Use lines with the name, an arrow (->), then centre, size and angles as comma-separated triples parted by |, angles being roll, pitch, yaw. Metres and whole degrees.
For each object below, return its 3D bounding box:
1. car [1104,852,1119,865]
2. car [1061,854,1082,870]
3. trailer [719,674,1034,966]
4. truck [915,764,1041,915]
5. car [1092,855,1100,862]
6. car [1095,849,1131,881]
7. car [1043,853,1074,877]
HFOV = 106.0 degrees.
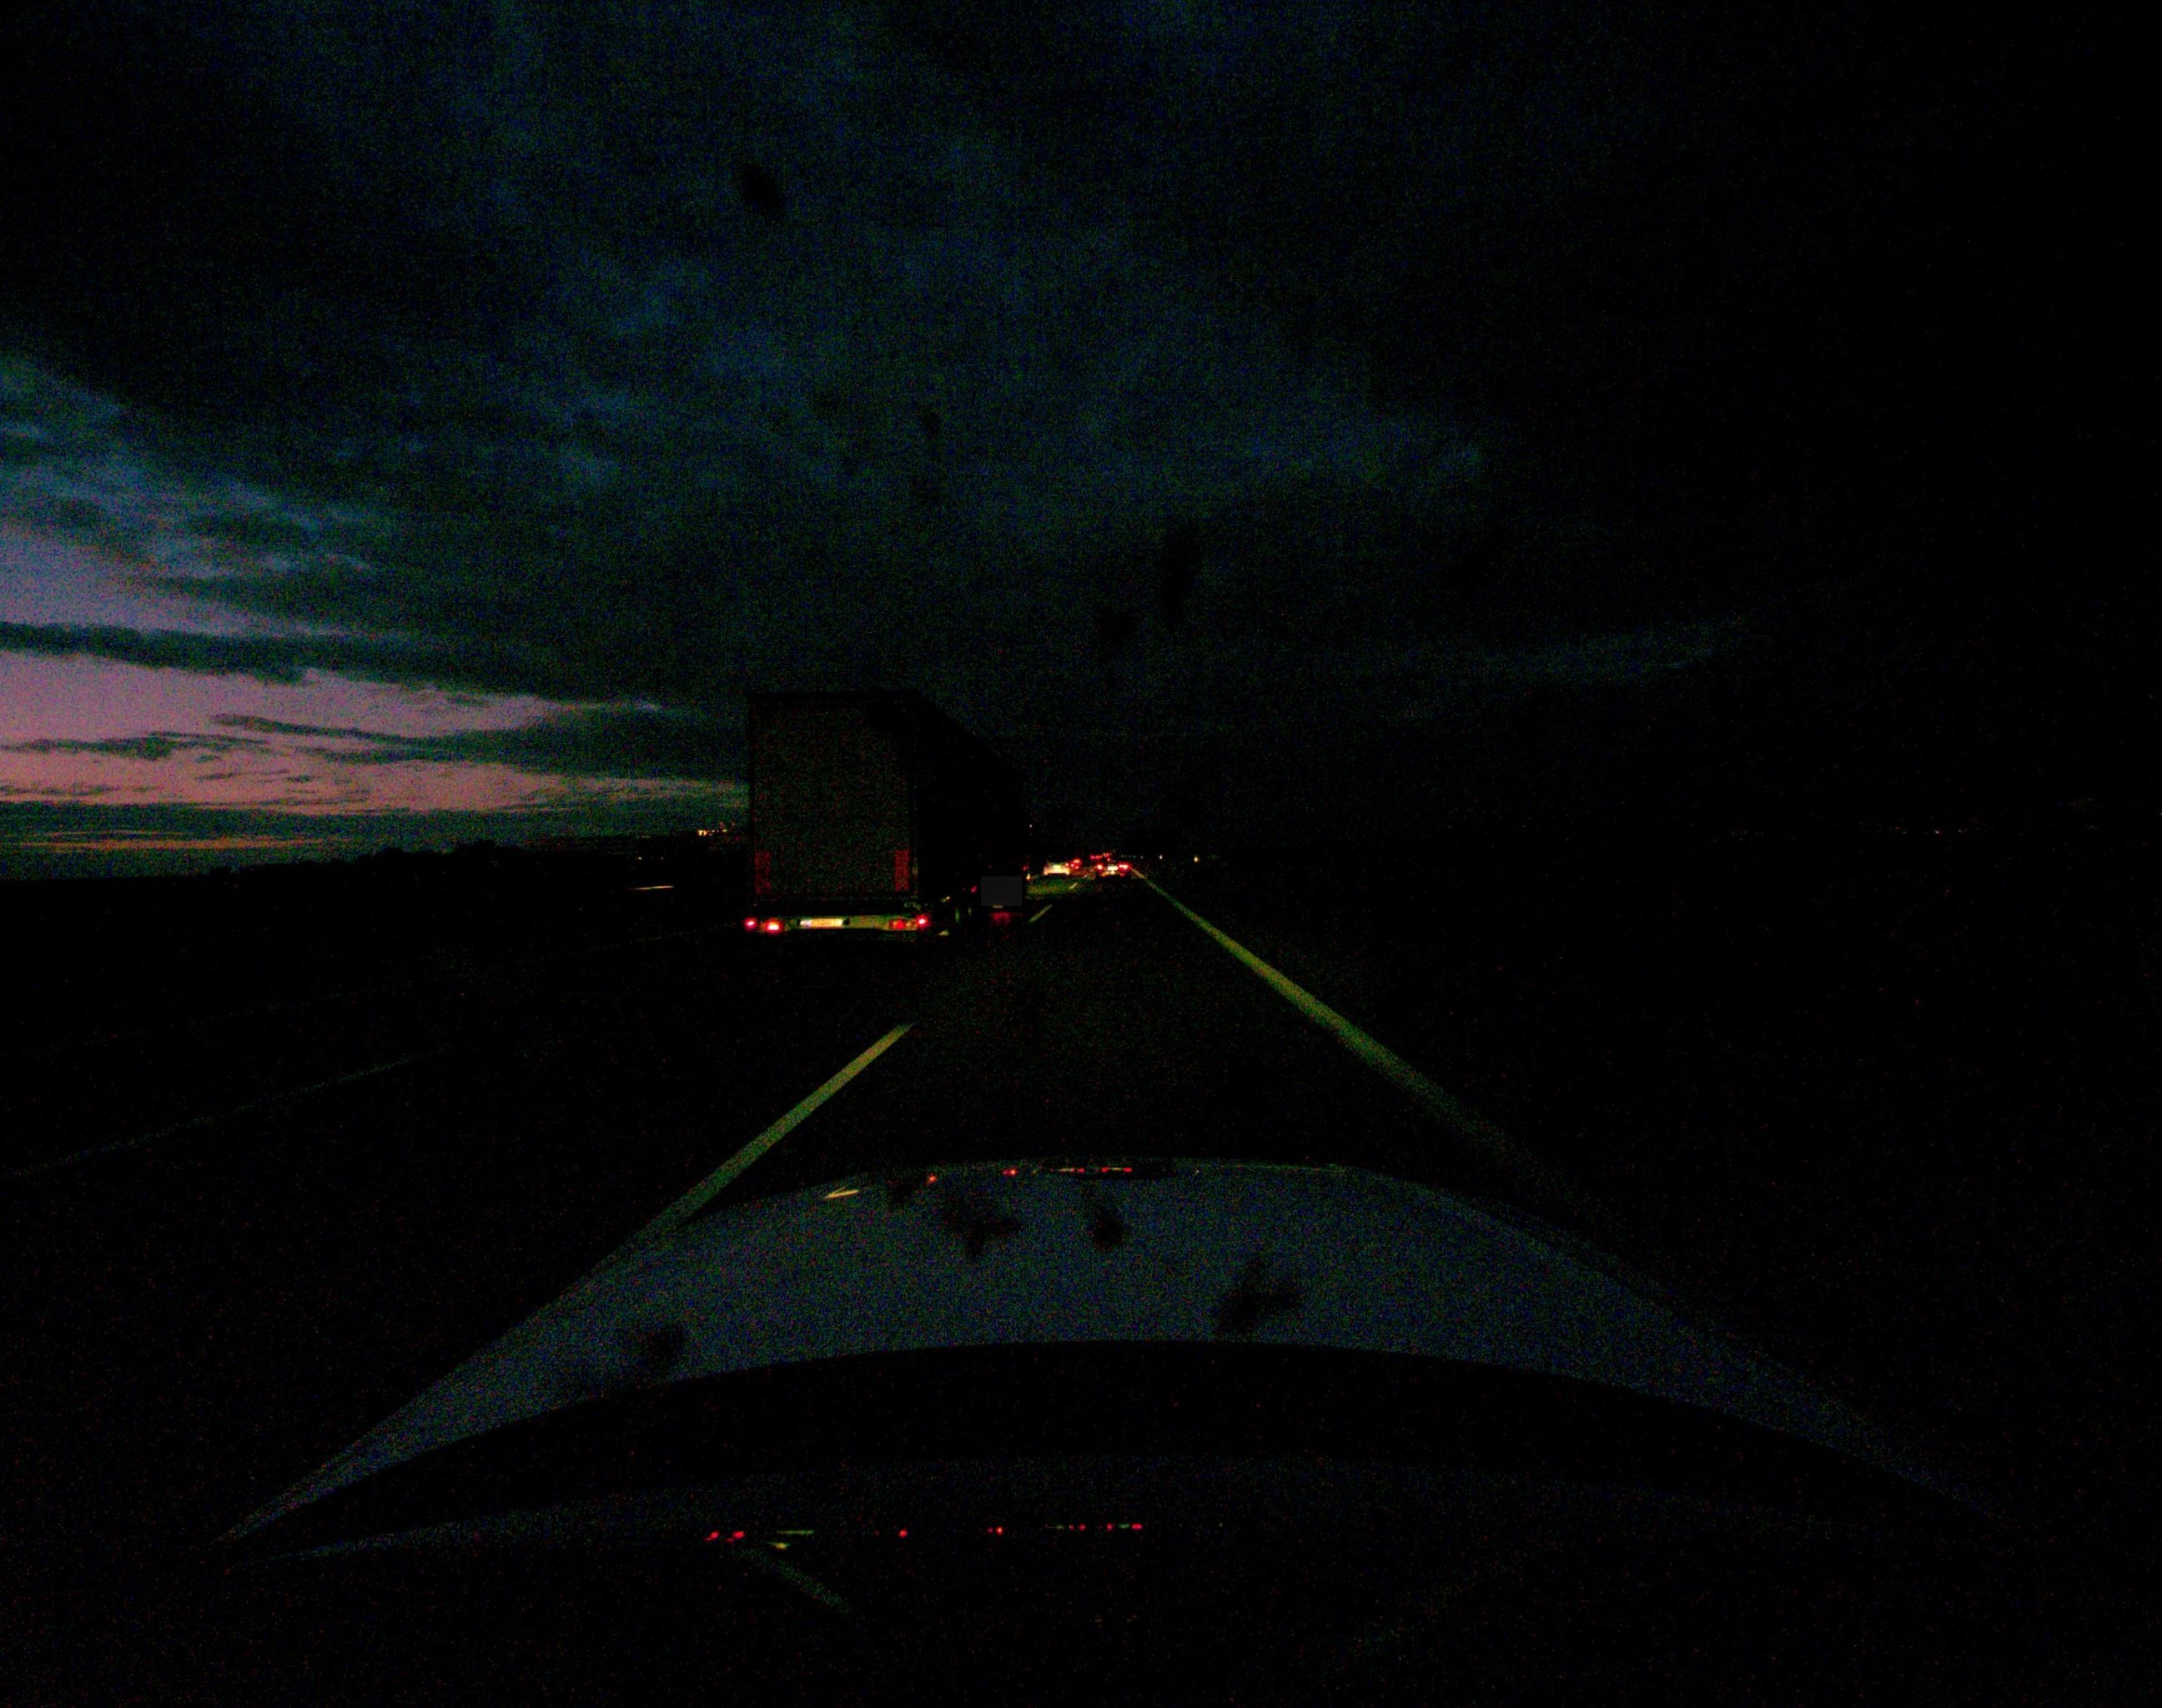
car -> 3.963, 0.567, 105.208 | 1.873, 1.552, 4.001 | 0, -1, 1
car -> -0.878, 0.754, 76.069 | 1.716, 1.471, 4.728 | 0, -1, 2
trailer -> -3.351, -0.425, 18.851 | 2.782, 4.085, 14.536 | -2, -1, 3
truck -> -3.003, -0.371, 25.484 | 2.766, 4.093, 6.107 | -2, -1, 3
car -> 3.478, 1.094, 188.653 | 1.873, 1.552, 4.001 | 0, -1, 1
car -> 1.766, 0.598, 44.861 | 1.873, 1.643, 4.002 | 0, -1, 2
car -> -1.468, 0.733, 54.074 | 1.737, 1.525, 4.417 | 0, -1, 3
